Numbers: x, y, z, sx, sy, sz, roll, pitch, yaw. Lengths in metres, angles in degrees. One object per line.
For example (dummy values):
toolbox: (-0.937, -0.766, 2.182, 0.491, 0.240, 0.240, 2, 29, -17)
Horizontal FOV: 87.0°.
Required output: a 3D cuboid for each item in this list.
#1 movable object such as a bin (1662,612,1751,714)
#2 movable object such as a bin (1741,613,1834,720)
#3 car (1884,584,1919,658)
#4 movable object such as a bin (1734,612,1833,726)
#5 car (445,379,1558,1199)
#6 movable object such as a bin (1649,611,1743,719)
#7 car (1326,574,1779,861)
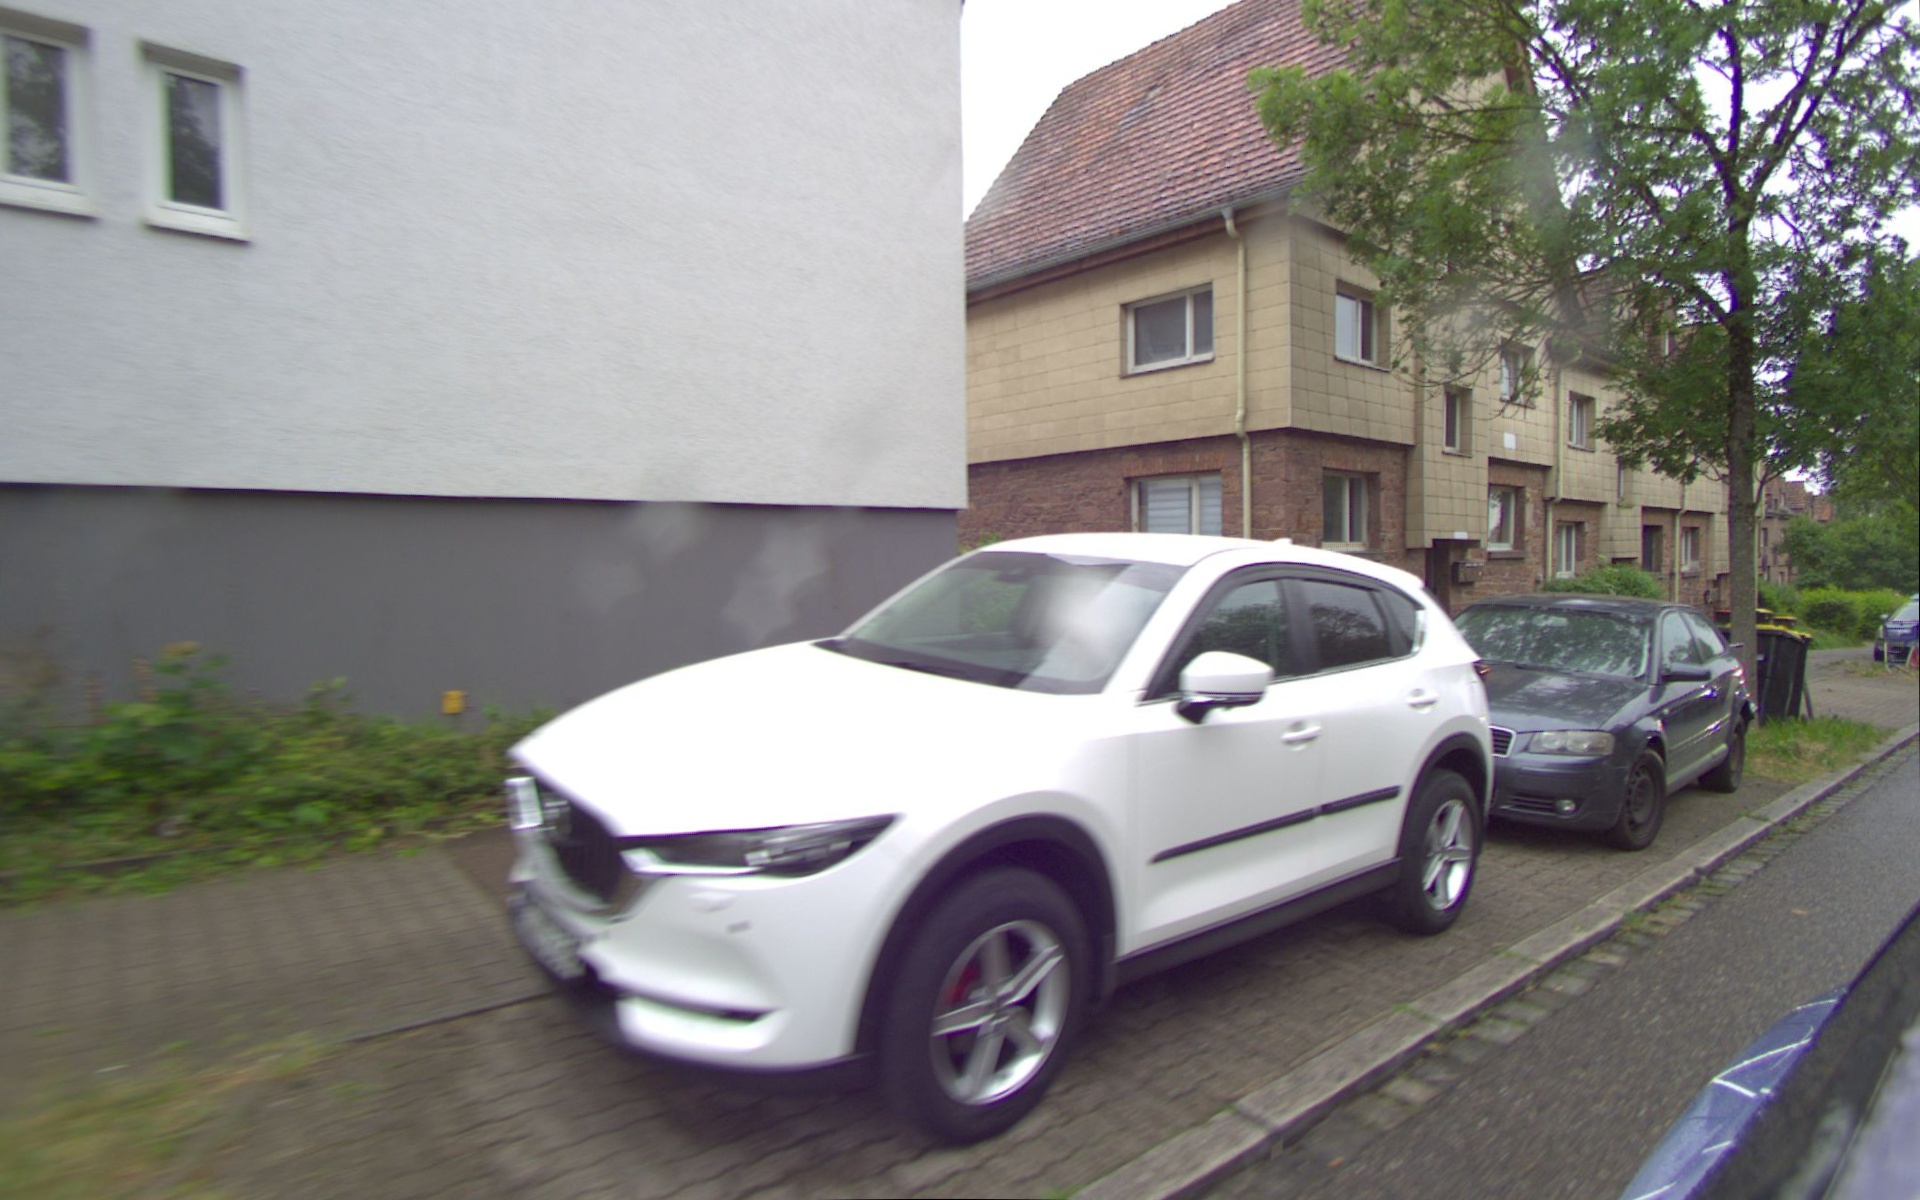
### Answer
movable object such as a bin: (8.506, 0.693, 11.535, 0.808, 1.063, 0.620, 1, 3, -43)
movable object such as a bin: (8.960, 0.696, 10.958, 0.808, 1.063, 0.620, 1, 3, -43)
car: (23.324, 0.586, 23.752, 4.559, 1.603, 1.707, 2, 4, -40)
movable object such as a bin: (8.372, 0.675, 10.285, 0.808, 1.063, 0.620, 1, 3, -43)
car: (0.557, 0.447, 4.165, 4.459, 1.794, 1.828, 1, 2, -40)
movable object such as a bin: (7.896, 0.672, 10.851, 0.808, 1.063, 0.620, 1, 3, -43)
car: (4.362, 0.602, 7.185, 3.929, 1.466, 1.644, 0, 1, -42)
